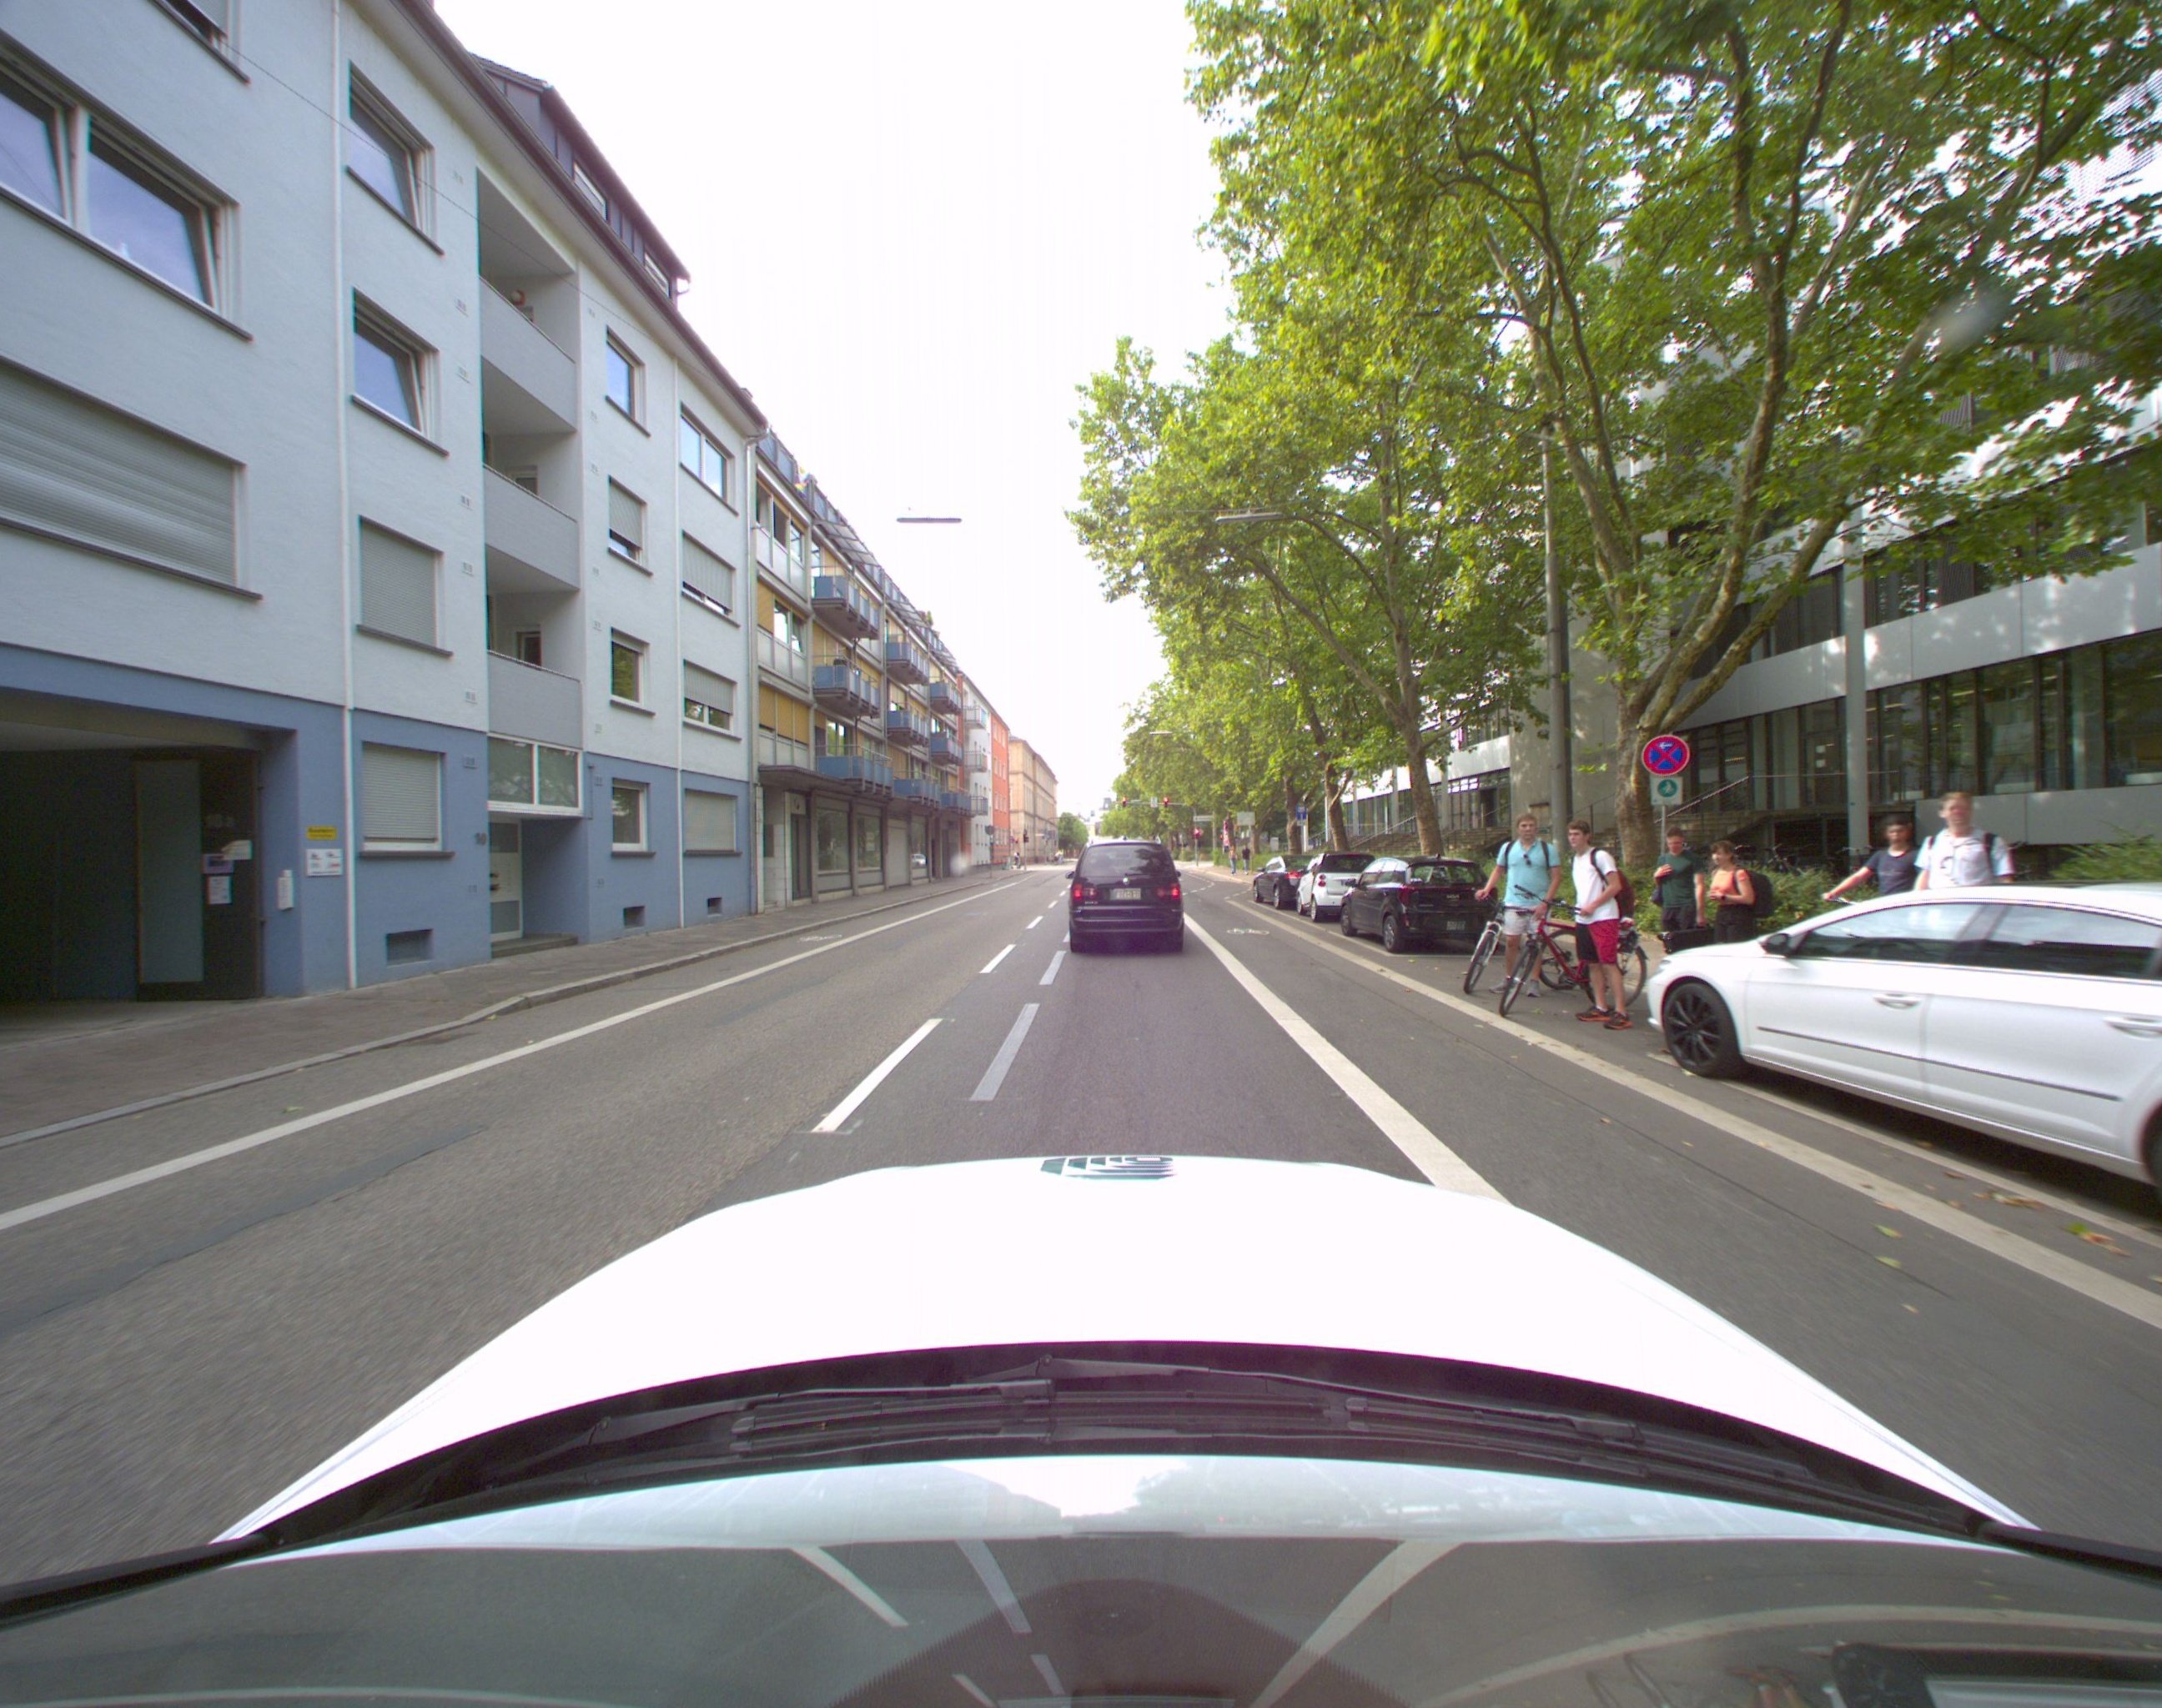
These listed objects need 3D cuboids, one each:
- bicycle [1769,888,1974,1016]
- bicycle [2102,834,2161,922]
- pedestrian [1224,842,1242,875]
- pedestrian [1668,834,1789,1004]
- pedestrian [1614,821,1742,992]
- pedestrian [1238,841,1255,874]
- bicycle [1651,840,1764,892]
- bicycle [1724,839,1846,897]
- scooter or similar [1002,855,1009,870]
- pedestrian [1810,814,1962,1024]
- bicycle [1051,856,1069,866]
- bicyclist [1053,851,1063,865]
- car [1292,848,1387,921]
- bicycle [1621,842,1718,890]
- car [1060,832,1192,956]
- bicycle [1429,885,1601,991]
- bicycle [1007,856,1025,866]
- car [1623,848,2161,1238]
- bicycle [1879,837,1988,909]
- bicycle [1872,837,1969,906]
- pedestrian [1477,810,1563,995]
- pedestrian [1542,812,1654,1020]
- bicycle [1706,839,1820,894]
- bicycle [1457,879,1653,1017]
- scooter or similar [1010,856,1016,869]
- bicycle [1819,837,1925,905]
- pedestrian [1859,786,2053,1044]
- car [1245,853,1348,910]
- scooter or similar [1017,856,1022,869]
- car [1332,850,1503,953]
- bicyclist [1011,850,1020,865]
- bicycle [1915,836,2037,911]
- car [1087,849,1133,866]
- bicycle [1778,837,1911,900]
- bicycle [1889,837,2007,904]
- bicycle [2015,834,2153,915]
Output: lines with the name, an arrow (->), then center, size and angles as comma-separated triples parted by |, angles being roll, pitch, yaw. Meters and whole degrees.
bicycle -> 7.557, 0.910, 7.792 | 1.767, 1.132, 0.461 | 0, 0, -10
bicycle -> 14.834, 0.293, 10.905 | 1.671, 1.117, 0.604 | -2, 0, -4
pedestrian -> 8.529, 0.273, 45.697 | 0.708, 1.783, 1.034 | -3, -1, 1
pedestrian -> 6.535, 0.631, 8.252 | 0.718, 1.658, 0.655 | 0, 0, 2
pedestrian -> 6.589, 0.555, 9.029 | 0.867, 1.816, 0.780 | 0, 0, 2
pedestrian -> 9.298, 0.170, 45.759 | 0.712, 1.800, 1.034 | -3, -1, 1
bicycle -> 14.627, 0.283, 19.047 | 2.071, 1.117, 0.674 | -2, 0, 2
bicycle -> 14.647, 0.277, 16.979 | 1.907, 1.117, 0.674 | -2, 0, 2
scooter or similar -> -6.164, 0.695, 66.331 | 0.376, 1.184, 1.390 | -1, -1, 2
pedestrian -> 7.406, 0.570, 7.526 | 0.718, 1.855, 0.704 | 0, 0, 2
bicycle -> -2.221, 0.702, 86.376 | 1.925, 1.028, 0.581 | 0, 0, -11
bicyclist -> -2.446, 0.397, 86.338 | 0.914, 1.466, 0.568 | 0, 0, -10
car -> 5.813, 0.641, 18.556 | 1.528, 1.543, 2.603 | 0, 0, 5
bicycle -> 14.710, 0.287, 20.383 | 1.907, 1.117, 0.674 | -2, 0, 2
car -> 0.731, 0.553, 13.949 | 1.866, 1.745, 4.576 | -1, 0, 2
bicycle -> 4.872, 0.923, 9.173 | 1.734, 1.105, 0.550 | 0, 0, -9
bicycle -> -6.806, 0.723, 85.078 | 1.923, 1.028, 0.582 | 0, 0, -8
car -> 5.058, 0.749, 4.071 | 1.675, 1.516, 4.544 | 1, 0, 0
bicycle -> 14.096, 0.305, 13.478 | 1.376, 1.117, 0.468 | -2, 0, -6
bicycle -> 14.505, 0.291, 14.076 | 1.379, 1.117, 0.509 | -2, 0, -13
pedestrian -> 4.782, 0.507, 8.905 | 0.474, 1.934, 0.742 | 0, 0, -9
pedestrian -> 4.820, 0.548, 7.629 | 0.520, 1.845, 0.741 | 0, 0, -13
bicycle -> 15.038, 0.278, 17.992 | 1.907, 1.117, 0.674 | -2, 0, 2
bicycle -> 4.582, 0.865, 7.874 | 1.792, 1.217, 0.550 | 0, 0, -16
scooter or similar -> -6.069, 0.742, 72.550 | 0.377, 1.147, 1.141 | -1, -1, -1
bicycle -> 14.240, 0.290, 14.662 | 1.698, 1.117, 0.619 | -2, 0, -17
pedestrian -> 7.146, 0.470, 6.695 | 0.790, 1.997, 0.750 | 0, 0, 2
car -> 5.901, 0.686, 22.809 | 1.692, 1.425, 4.421 | 0, 0, 0
scooter or similar -> -5.481, 0.742, 73.006 | 0.377, 1.144, 1.141 | -1, -1, -1
car -> 5.497, 0.689, 13.762 | 1.522, 1.502, 3.662 | 0, 0, 3
bicyclist -> -6.856, 0.364, 85.074 | 0.914, 1.466, 0.568 | 0, 0, -8
bicycle -> 14.306, 0.302, 13.027 | 1.536, 1.117, 0.468 | -2, 0, -6
car -> 2.782, 0.367, 78.637 | 4.112, 1.427, 1.745 | -3, 0, -31
bicycle -> 14.863, 0.273, 15.885 | 1.907, 1.117, 0.674 | -2, 0, 2
bicycle -> 15.396, 0.273, 14.510 | 0.490, 1.117, 1.436 | -2, 0, -3
bicycle -> 14.723, 0.295, 11.969 | 1.441, 1.117, 0.468 | -2, 0, -1
